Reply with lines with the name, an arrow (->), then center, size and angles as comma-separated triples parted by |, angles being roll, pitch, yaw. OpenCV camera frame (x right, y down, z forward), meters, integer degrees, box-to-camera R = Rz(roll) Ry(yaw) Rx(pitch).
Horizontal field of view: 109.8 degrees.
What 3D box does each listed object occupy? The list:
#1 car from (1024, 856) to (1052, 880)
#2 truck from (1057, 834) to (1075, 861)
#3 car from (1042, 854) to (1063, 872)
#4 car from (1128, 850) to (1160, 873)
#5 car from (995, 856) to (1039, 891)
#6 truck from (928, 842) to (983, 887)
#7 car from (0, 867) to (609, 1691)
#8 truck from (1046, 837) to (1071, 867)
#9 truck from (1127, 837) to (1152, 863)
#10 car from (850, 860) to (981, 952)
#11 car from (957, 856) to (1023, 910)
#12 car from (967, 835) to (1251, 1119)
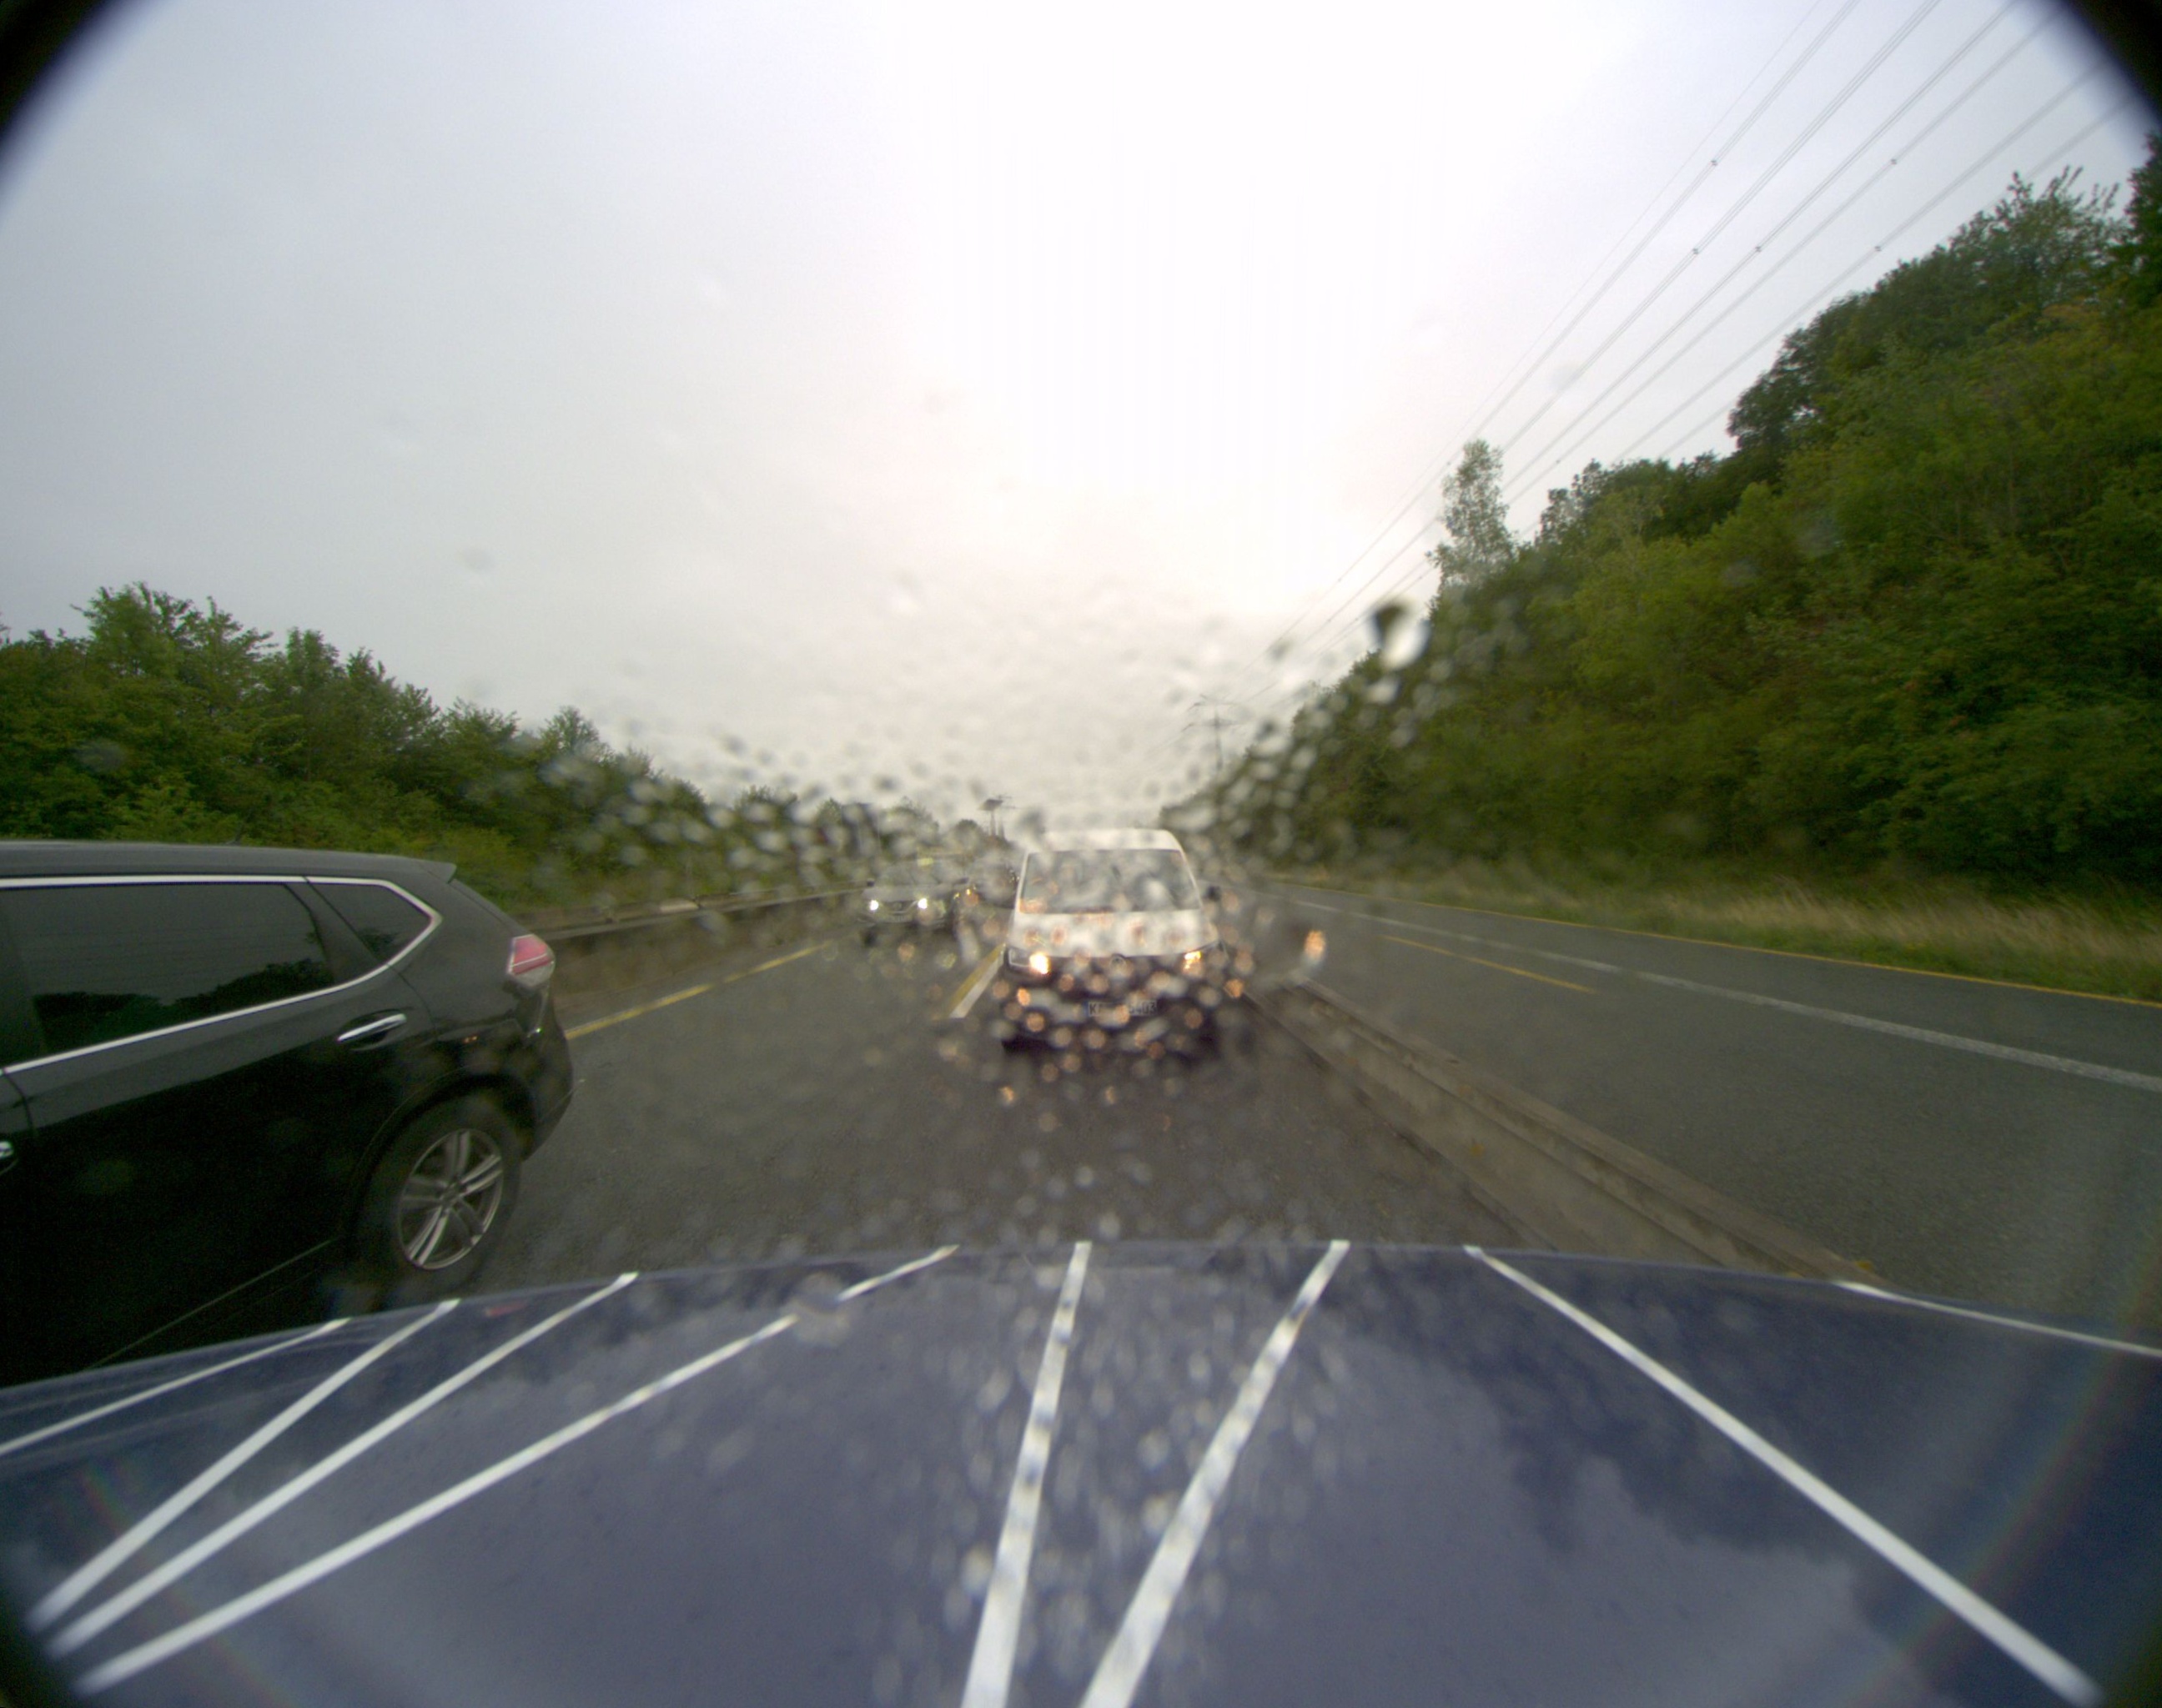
car -> -3.051, 0.977, 54.510 | 1.784, 1.482, 4.123 | -2, 1, -1
truck -> -2.312, -1.025, 119.450 | 2.619, 3.869, 9.573 | -2, 1, -1
car -> -2.597, 0.795, 69.214 | 1.784, 1.482, 4.123 | -2, 1, -1
car -> 4.347, 0.507, 53.204 | 1.815, 1.479, 4.395 | -2, 1, 0
car -> -3.020, 0.881, 36.746 | 1.784, 1.482, 4.123 | -2, 1, -1
truck -> -10.222, 0.769, 63.111 | 2.619, 3.404, 9.575 | -2, 1, 2
car -> -3.231, 0.953, 1.325 | 1.894, 1.665, 4.640 | -2, 1, -1
truck -> -2.728, -0.296, 95.002 | 2.619, 3.404, 9.575 | -2, 1, 1
truck -> 7.856, -0.565, 103.228 | 2.541, 3.333, 12.048 | -2, 1, 1
car -> -3.213, 0.944, 15.593 | 1.784, 1.482, 4.123 | -2, 1, -1
car -> -3.040, 0.938, 26.133 | 1.784, 1.589, 4.123 | -2, 1, -1
car -> 0.160, 0.772, 7.268 | 1.784, 1.775, 4.697 | -2, 1, -1
